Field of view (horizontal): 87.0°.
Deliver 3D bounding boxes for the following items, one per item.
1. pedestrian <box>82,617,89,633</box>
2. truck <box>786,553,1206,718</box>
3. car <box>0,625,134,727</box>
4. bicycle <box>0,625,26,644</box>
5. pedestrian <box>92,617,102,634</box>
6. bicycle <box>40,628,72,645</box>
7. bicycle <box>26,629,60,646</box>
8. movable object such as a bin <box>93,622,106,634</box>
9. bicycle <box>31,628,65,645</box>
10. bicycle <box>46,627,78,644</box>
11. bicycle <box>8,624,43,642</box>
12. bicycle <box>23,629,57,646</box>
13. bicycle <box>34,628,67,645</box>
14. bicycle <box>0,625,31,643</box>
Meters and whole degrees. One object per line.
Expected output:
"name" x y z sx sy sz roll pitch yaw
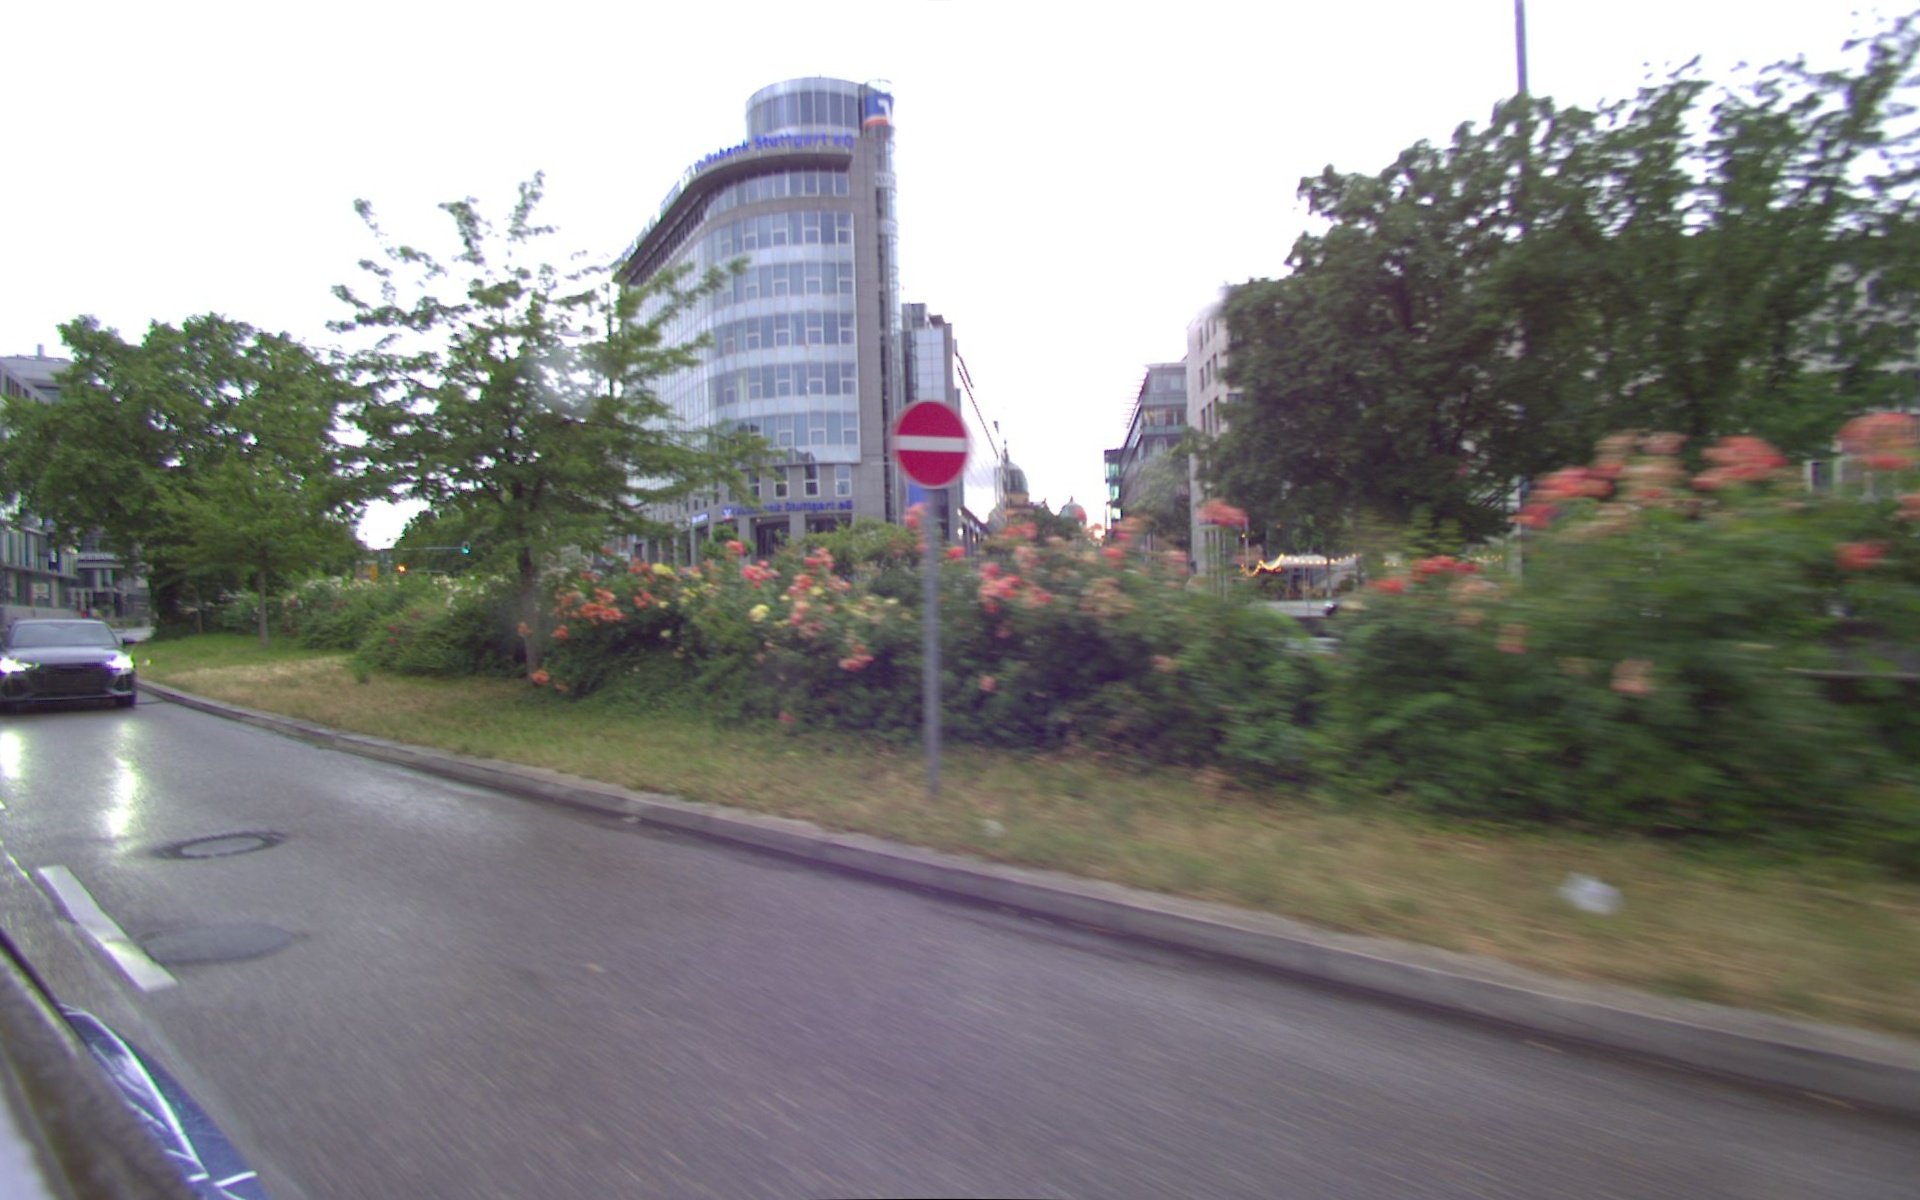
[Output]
"pedestrian" -95.100 2.743 110.076 0.477 1.712 0.581 0 -1 -32
"truck" 0.263 0.575 19.813 3.325 2.529 8.488 -1 0 -41
"car" -16.081 1.239 17.937 1.839 1.529 4.348 -2 0 -44
"bicycle" -61.946 2.254 65.915 1.514 1.149 0.664 -1 1 -36
"pedestrian" -94.175 2.730 110.458 0.711 1.844 0.749 0 -1 -32
"bicycle" -66.137 2.638 74.047 1.707 1.192 0.691 0 -1 -36
"bicycle" -64.928 2.621 71.691 1.707 1.149 0.691 0 -1 -36
"movable object such as a bin" -93.176 2.995 109.576 0.791 1.275 1.793 0 -1 -32
"bicycle" -65.230 2.616 72.386 1.707 1.192 0.691 0 -1 -36
"bicycle" -66.602 2.650 75.096 1.707 1.192 0.691 0 -1 -36
"bicycle" -62.943 2.225 68.177 1.683 1.149 0.691 -1 1 -36
"bicycle" -64.426 2.605 70.902 1.707 1.149 0.691 0 -1 -36
"bicycle" -65.785 2.630 73.190 1.707 1.192 0.691 0 -1 -36
"bicycle" -62.295 2.245 66.658 1.514 1.149 0.691 -1 1 -36
